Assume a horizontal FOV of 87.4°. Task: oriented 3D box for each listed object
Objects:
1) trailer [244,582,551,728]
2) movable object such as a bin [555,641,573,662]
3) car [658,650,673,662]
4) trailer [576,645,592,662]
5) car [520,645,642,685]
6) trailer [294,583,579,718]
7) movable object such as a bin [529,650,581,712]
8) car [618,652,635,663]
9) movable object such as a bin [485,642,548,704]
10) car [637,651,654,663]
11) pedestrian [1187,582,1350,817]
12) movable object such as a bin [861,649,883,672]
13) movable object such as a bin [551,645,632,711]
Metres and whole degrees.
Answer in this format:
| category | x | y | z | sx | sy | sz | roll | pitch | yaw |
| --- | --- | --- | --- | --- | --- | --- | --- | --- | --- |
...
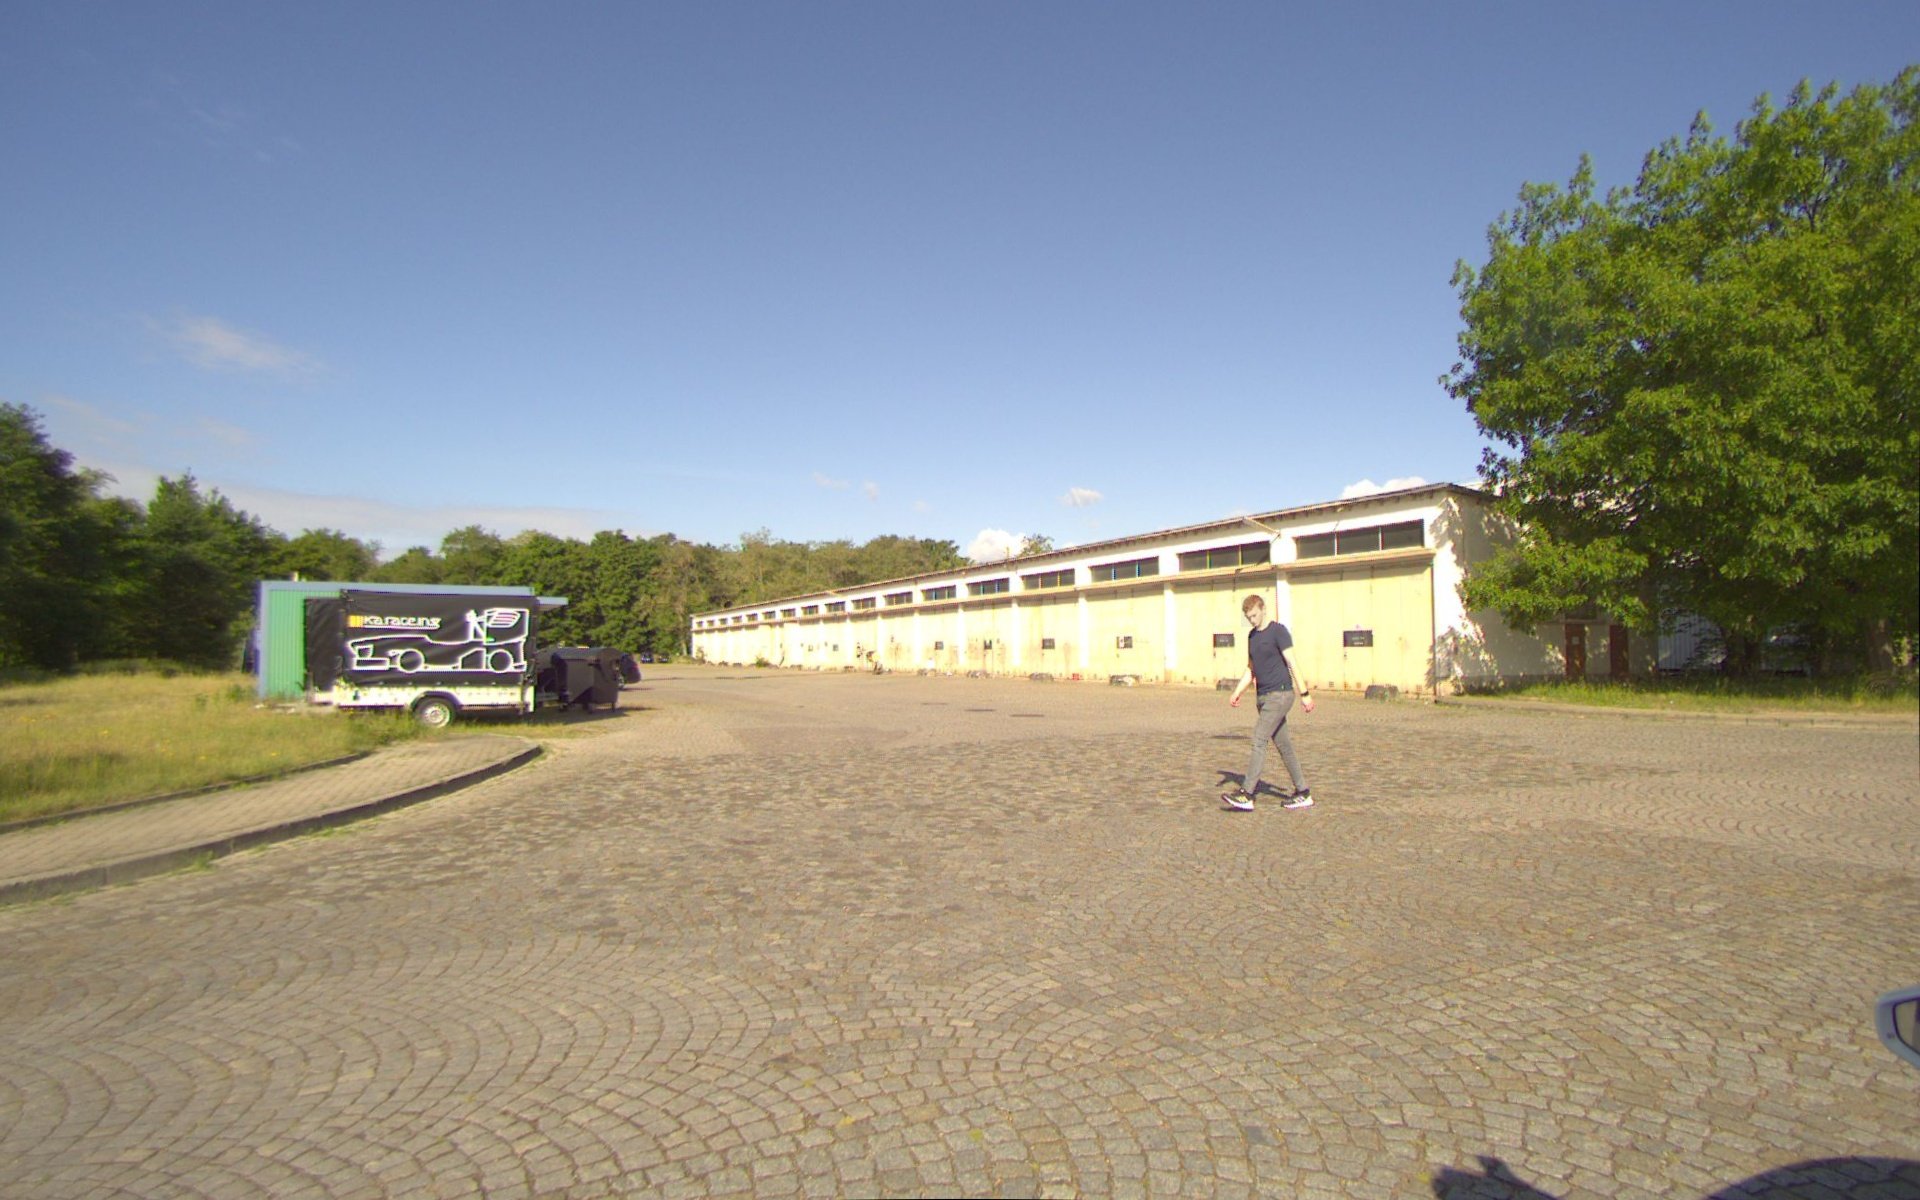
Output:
| category | x | y | z | sx | sy | sz | roll | pitch | yaw |
| --- | --- | --- | --- | --- | --- | --- | --- | --- | --- |
| trailer | -9.704 | 0.996 | 17.725 | 4.411 | 2.302 | 2.001 | 2 | -4 | -27 |
| movable object such as a bin | -51.243 | 6.675 | 129.862 | 1.971 | 2.652 | 3.980 | 3 | -4 | -22 |
| car | -39.196 | 7.470 | 133.591 | 1.665 | 1.584 | 3.984 | 1 | -3 | -19 |
| trailer | -48.917 | 6.930 | 130.702 | 1.773 | 2.117 | 3.952 | 1 | -3 | -22 |
| car | -14.129 | 2.445 | 37.511 | 4.018 | 1.431 | 1.717 | 3 | -4 | -32 |
| trailer | -10.396 | 1.051 | 20.163 | 4.803 | 2.422 | 1.926 | 3 | -4 | -33 |
| movable object such as a bin | -9.445 | 1.860 | 23.388 | 1.069 | 1.403 | 1.362 | 1 | -3 | -23 |
| car | -43.770 | 7.552 | 131.807 | 1.969 | 1.482 | 3.984 | 1 | -3 | -19 |
| movable object such as a bin | -10.742 | 1.745 | 24.301 | 1.079 | 1.455 | 1.394 | 2 | -4 | -39 |
| car | -41.551 | 7.551 | 132.796 | 1.969 | 1.438 | 3.984 | 1 | -4 | -19 |
| pedestrian | 2.735 | 0.851 | 8.948 | 1.127 | 1.939 | 0.795 | 1 | -3 | -26 |
| movable object such as a bin | -5.114 | 3.501 | 58.217 | 0.817 | 1.349 | 1.270 | 1 | -3 | -31 |
| movable object such as a bin | -8.196 | 1.717 | 22.361 | 1.338 | 1.404 | 1.048 | -1 | -3 | 21 |
